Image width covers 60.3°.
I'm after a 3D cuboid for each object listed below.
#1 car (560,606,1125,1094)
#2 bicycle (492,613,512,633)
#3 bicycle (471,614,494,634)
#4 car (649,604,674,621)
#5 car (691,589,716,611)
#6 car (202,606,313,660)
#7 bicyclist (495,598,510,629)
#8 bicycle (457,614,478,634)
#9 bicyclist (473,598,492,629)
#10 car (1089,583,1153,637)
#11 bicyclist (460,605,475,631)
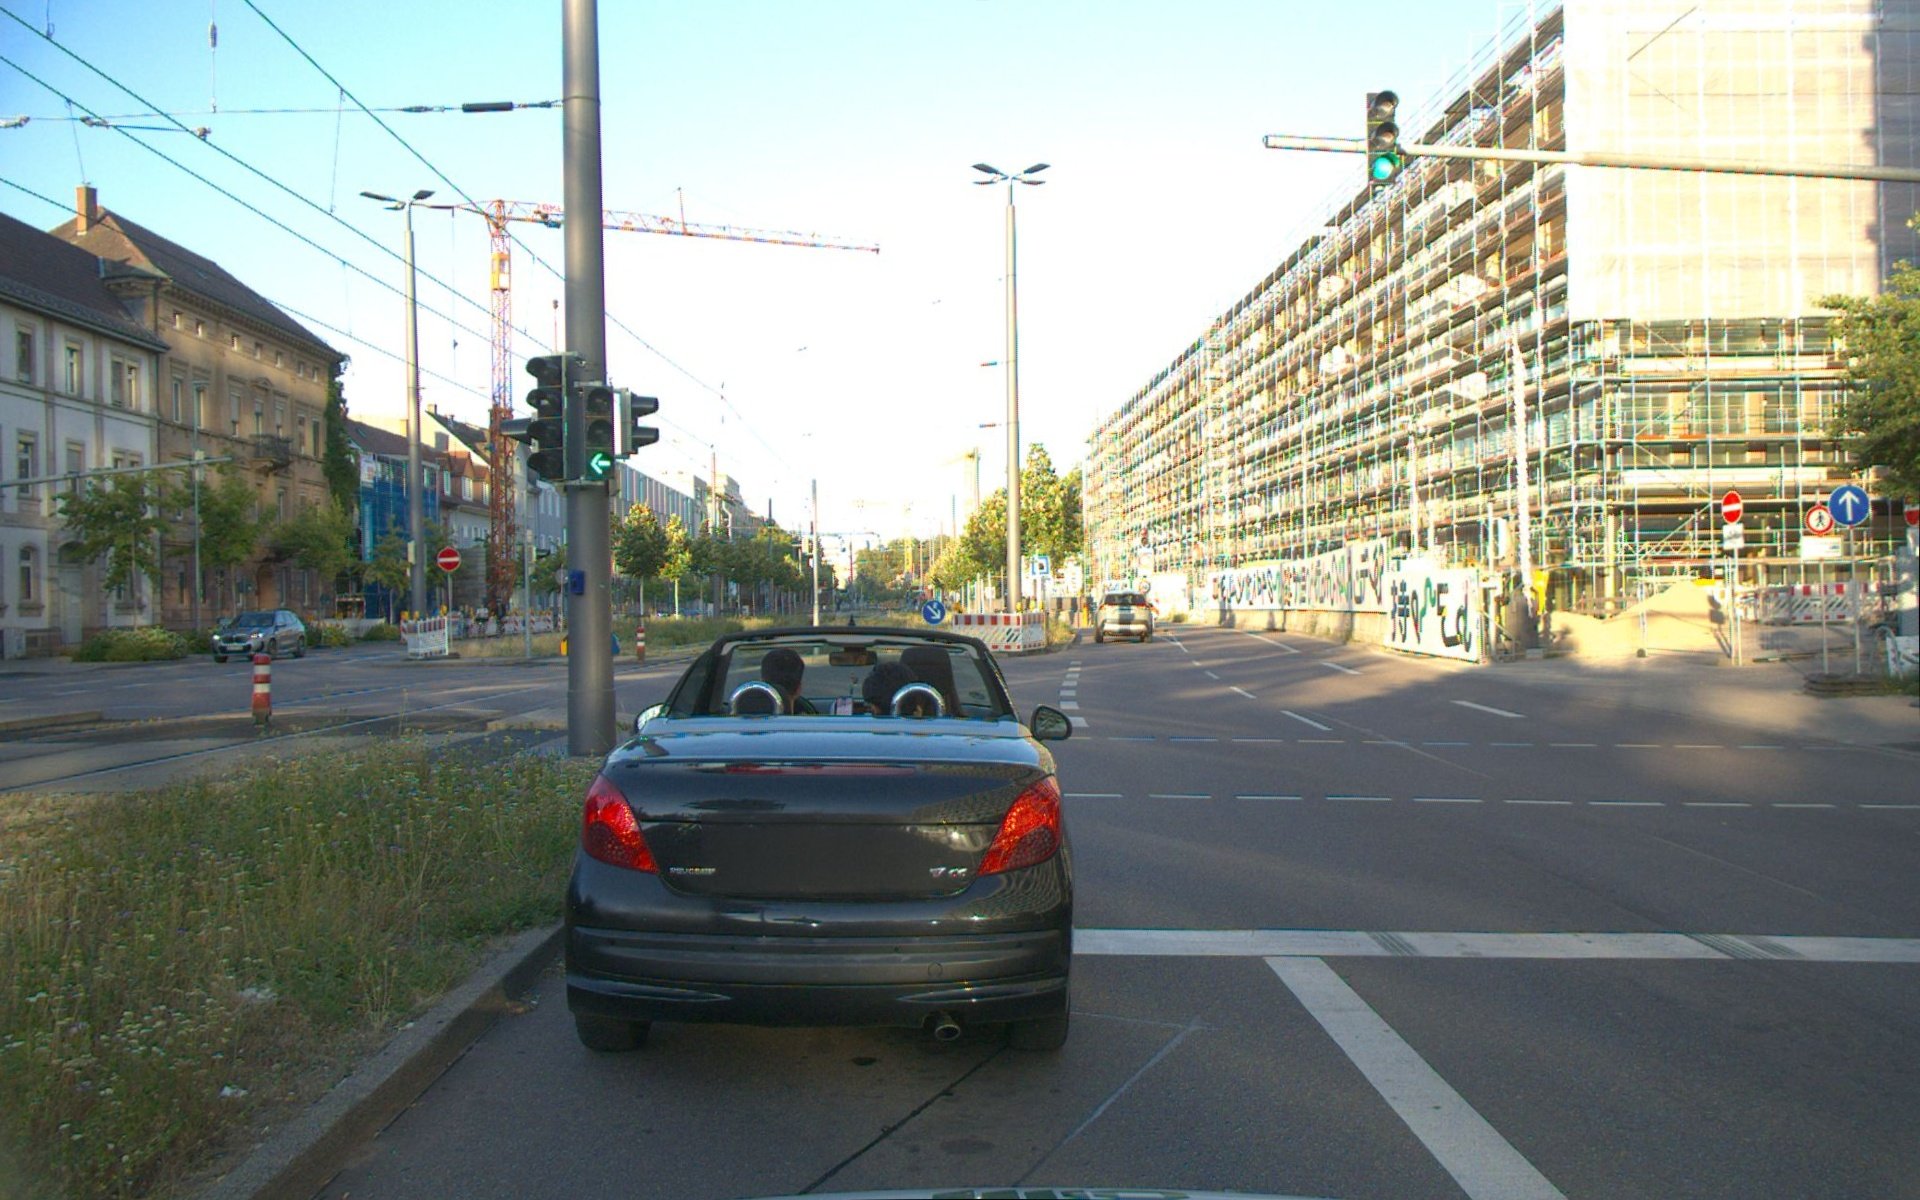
[{"bbox_3d":[-0.383,0.736,6.821,1.640,1.376,3.999,0,0,-1],"label":"car"},{"bbox_3d":[-23.873,1.211,86.251,0.578,0.992,1.556,1,0,-1],"label":"bicycle"},{"bbox_3d":[-24.853,1.244,86.091,0.756,0.961,1.639,1,0,-1],"label":"bicycle"},{"bbox_3d":[-27.213,1.129,150.826,1.624,1.456,3.894,1,0,-1],"label":"car"},{"bbox_3d":[-23.425,0.003,150.910,1.624,1.998,4.266,1,0,0],"label":"car"},{"bbox_3d":[-23.271,1.071,54.949,1.953,1.607,4.123,-2,0,-1],"label":"car"},{"bbox_3d":[-23.863,0.714,86.251,0.578,1.597,0.711,1,0,-1],"label":"bicyclist"},{"bbox_3d":[-24.709,1.199,82.994,0.578,1.006,1.556,1,0,-1],"label":"bicycle"},{"bbox_3d":[-24.841,0.695,86.072,0.756,1.598,0.792,1,0,-1],"label":"bicyclist"},{"bbox_3d":[5.228,0.291,54.289,1.796,1.702,4.283,0,0,1],"label":"car"},{"bbox_3d":[-24.703,0.923,82.995,0.578,1.289,0.460,1,0,-1],"label":"bicyclist"}]
